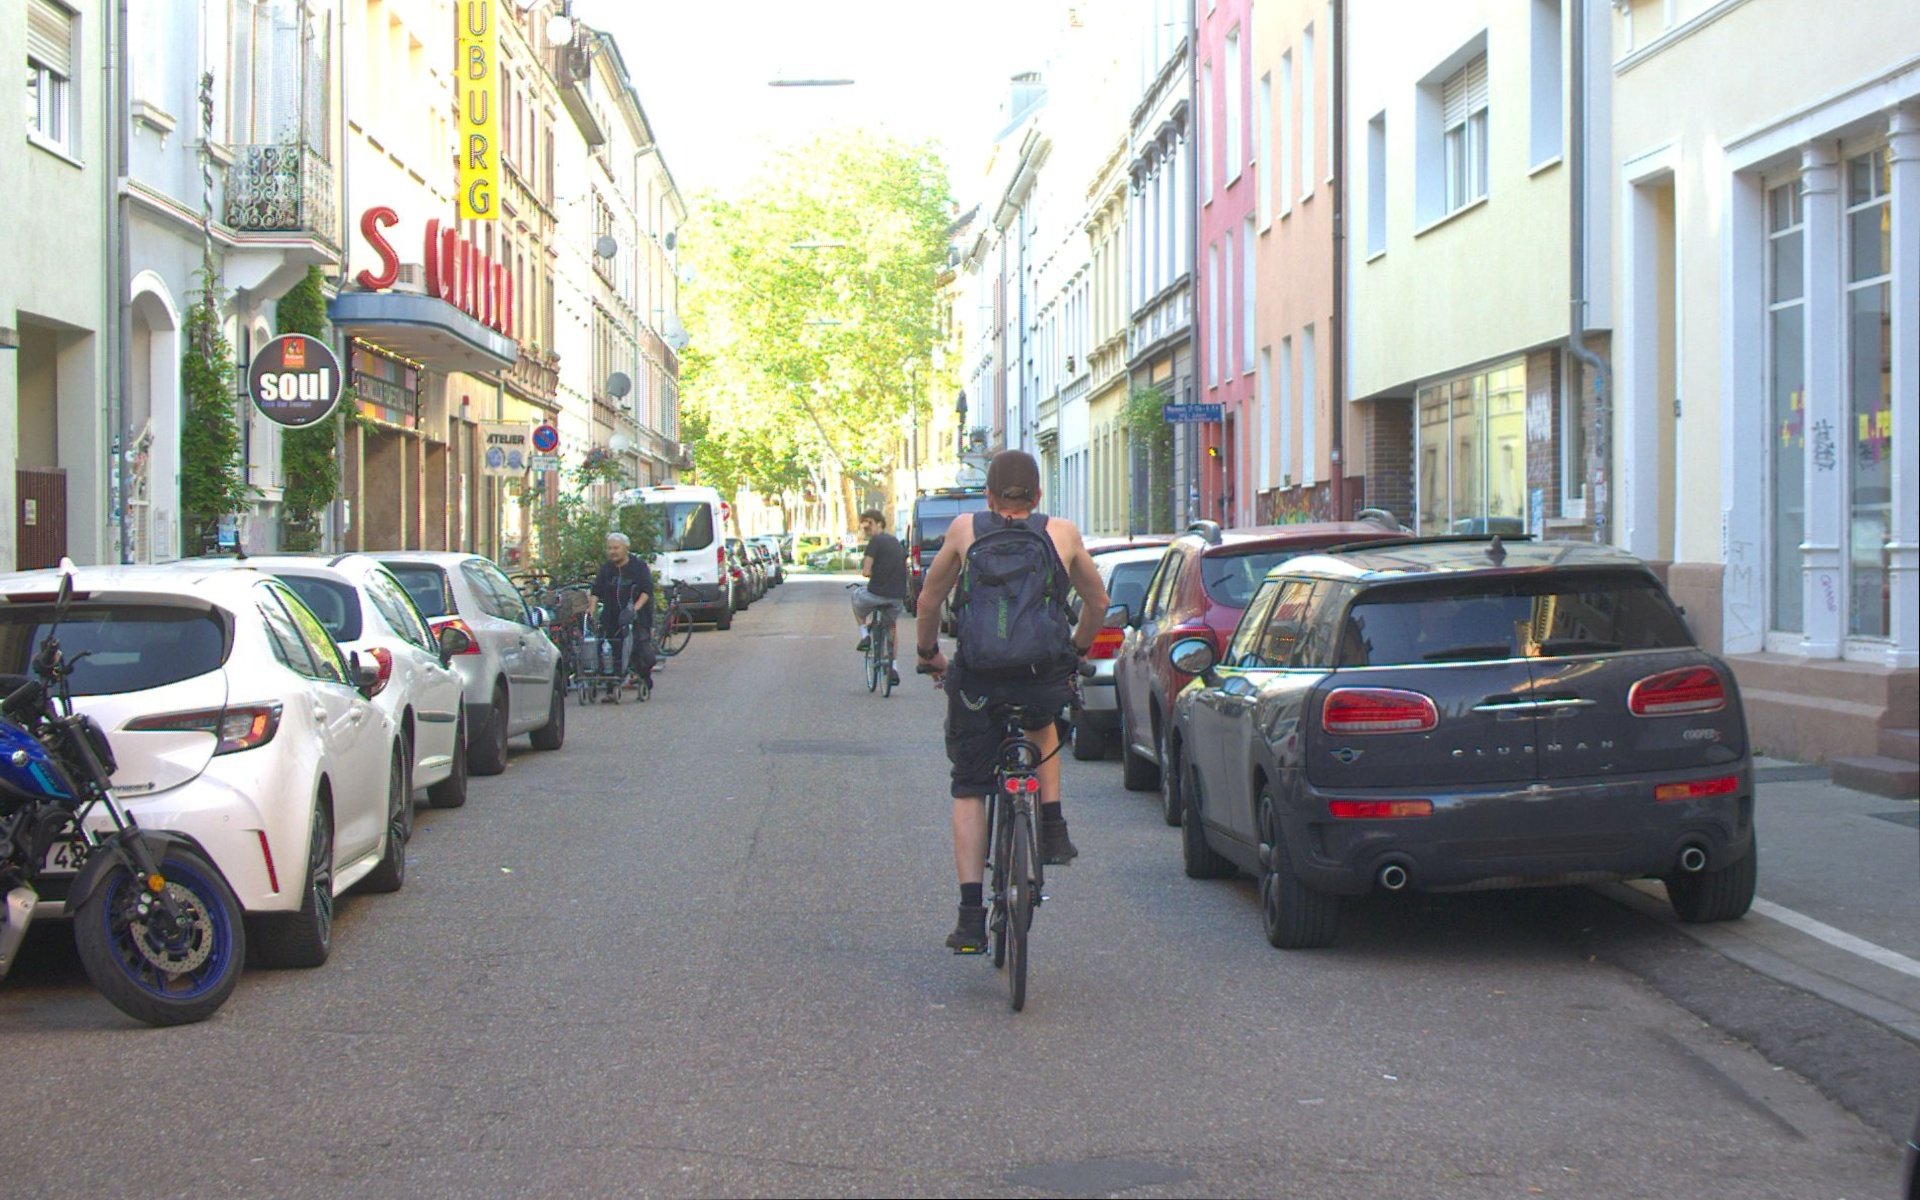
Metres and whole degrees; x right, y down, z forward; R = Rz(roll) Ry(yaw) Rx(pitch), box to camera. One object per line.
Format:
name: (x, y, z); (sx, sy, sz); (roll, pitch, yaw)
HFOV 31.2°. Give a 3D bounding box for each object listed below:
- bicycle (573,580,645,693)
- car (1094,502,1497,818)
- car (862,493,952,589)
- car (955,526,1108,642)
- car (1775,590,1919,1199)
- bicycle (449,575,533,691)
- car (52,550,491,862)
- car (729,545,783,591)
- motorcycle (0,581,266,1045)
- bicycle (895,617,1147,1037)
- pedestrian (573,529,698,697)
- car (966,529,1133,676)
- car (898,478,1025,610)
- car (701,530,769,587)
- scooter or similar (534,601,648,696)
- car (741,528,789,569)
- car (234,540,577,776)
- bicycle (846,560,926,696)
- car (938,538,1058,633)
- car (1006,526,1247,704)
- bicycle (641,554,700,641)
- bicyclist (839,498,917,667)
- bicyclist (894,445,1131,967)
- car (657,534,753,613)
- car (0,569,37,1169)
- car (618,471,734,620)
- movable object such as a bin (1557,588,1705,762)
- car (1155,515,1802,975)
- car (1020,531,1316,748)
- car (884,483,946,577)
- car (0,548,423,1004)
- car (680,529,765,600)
bicycle: (-3.604, 0.355, 35.346); (0.699, 1.102, 2.275); (1, 1, -6)
car: (1.803, 0.286, 19.662); (1.710, 1.551, 4.000); (-2, 1, -2)
car: (-1.543, -1.647, 97.502); (2.307, 2.529, 6.770); (-2, 1, -2)
car: (0.894, -0.221, 45.080); (1.710, 1.389, 4.000); (-2, 1, -2)
car: (2.392, 0.697, 3.405); (1.816, 1.433, 4.791); (-2, 1, -2)
bicycle: (-4.819, 0.322, 35.422); (0.758, 1.130, 2.275); (1, 1, -6)
car: (-3.580, 0.491, 18.482); (1.672, 1.437, 3.768); (-2, 1, -2)
car: (-6.878, -1.084, 116.283); (1.672, 1.437, 4.166); (-2, 1, -2)
motorcycle: (-3.288, 0.683, 10.544); (2.146, 1.354, 0.540); (-4, 2, -20)
bicycle: (0.159, 0.683, 11.406); (0.702, 1.204, 2.342); (1, 1, -2)
pedestrian: (-3.102, 0.122, 32.836); (0.897, 1.573, 0.773); (1, 1, -38)
car: (0.983, 0.004, 39.628); (1.620, 1.545, 4.000); (-2, 1, -2)
car: (-0.033, -1.154, 72.085); (2.307, 2.529, 6.770); (-2, 1, -2)
car: (-6.105, -1.119, 93.534); (1.672, 1.437, 4.166); (-2, 1, -2)
scooter or similar: (-3.490, 0.458, 32.530); (0.768, 0.870, 0.773); (1, 1, -38)
car: (-7.298, -1.914, 128.846); (1.672, 1.437, 4.166); (-2, 1, -2)
car: (-3.735, 0.346, 23.742); (1.672, 1.437, 3.754); (-2, 1, 1)
bicycle: (-0.739, 0.252, 33.577); (0.702, 1.203, 2.342); (1, 2, -3)
car: (0.589, -0.249, 56.511); (1.710, 1.442, 4.000); (-2, 1, -2)
car: (1.385, 0.100, 30.047); (1.710, 1.378, 4.000); (-2, 1, -2)
bicycle: (-4.000, -0.045, 47.449); (0.758, 1.159, 2.275); (1, 1, -6)
bicyclist: (-0.803, -0.178, 33.416); (0.702, 1.599, 0.813); (1, 2, -2)
bicyclist: (0.155, 0.327, 11.306); (0.702, 1.627, 1.090); (1, 0, -2)
car: (-4.971, -0.532, 67.493); (1.672, 1.437, 4.166); (-2, 1, -2)
car: (-3.095, 0.704, 6.061); (1.710, 1.378, 4.356); (-2, 2, 0)
car: (-4.971, -0.969, 60.521); (1.909, 2.488, 4.166); (-1, 1, -4)
movable object such as a bin: (4.381, 0.482, 22.486); (0.807, 1.071, 0.677); (-3, 1, 3)
car: (1.915, 0.478, 13.917); (1.816, 1.516, 4.000); (-2, 1, -2)
car: (1.423, 0.240, 24.967); (1.710, 1.378, 4.000); (-2, 1, -2)
car: (-1.940, -2.908, 144.884); (2.307, 3.755, 6.770); (-2, 1, -2)
car: (-3.120, 0.565, 13.234); (1.672, 1.437, 4.166); (-2, 1, -4)
car: (-5.152, -0.786, 74.992); (1.672, 1.437, 4.166); (-2, 1, -2)
